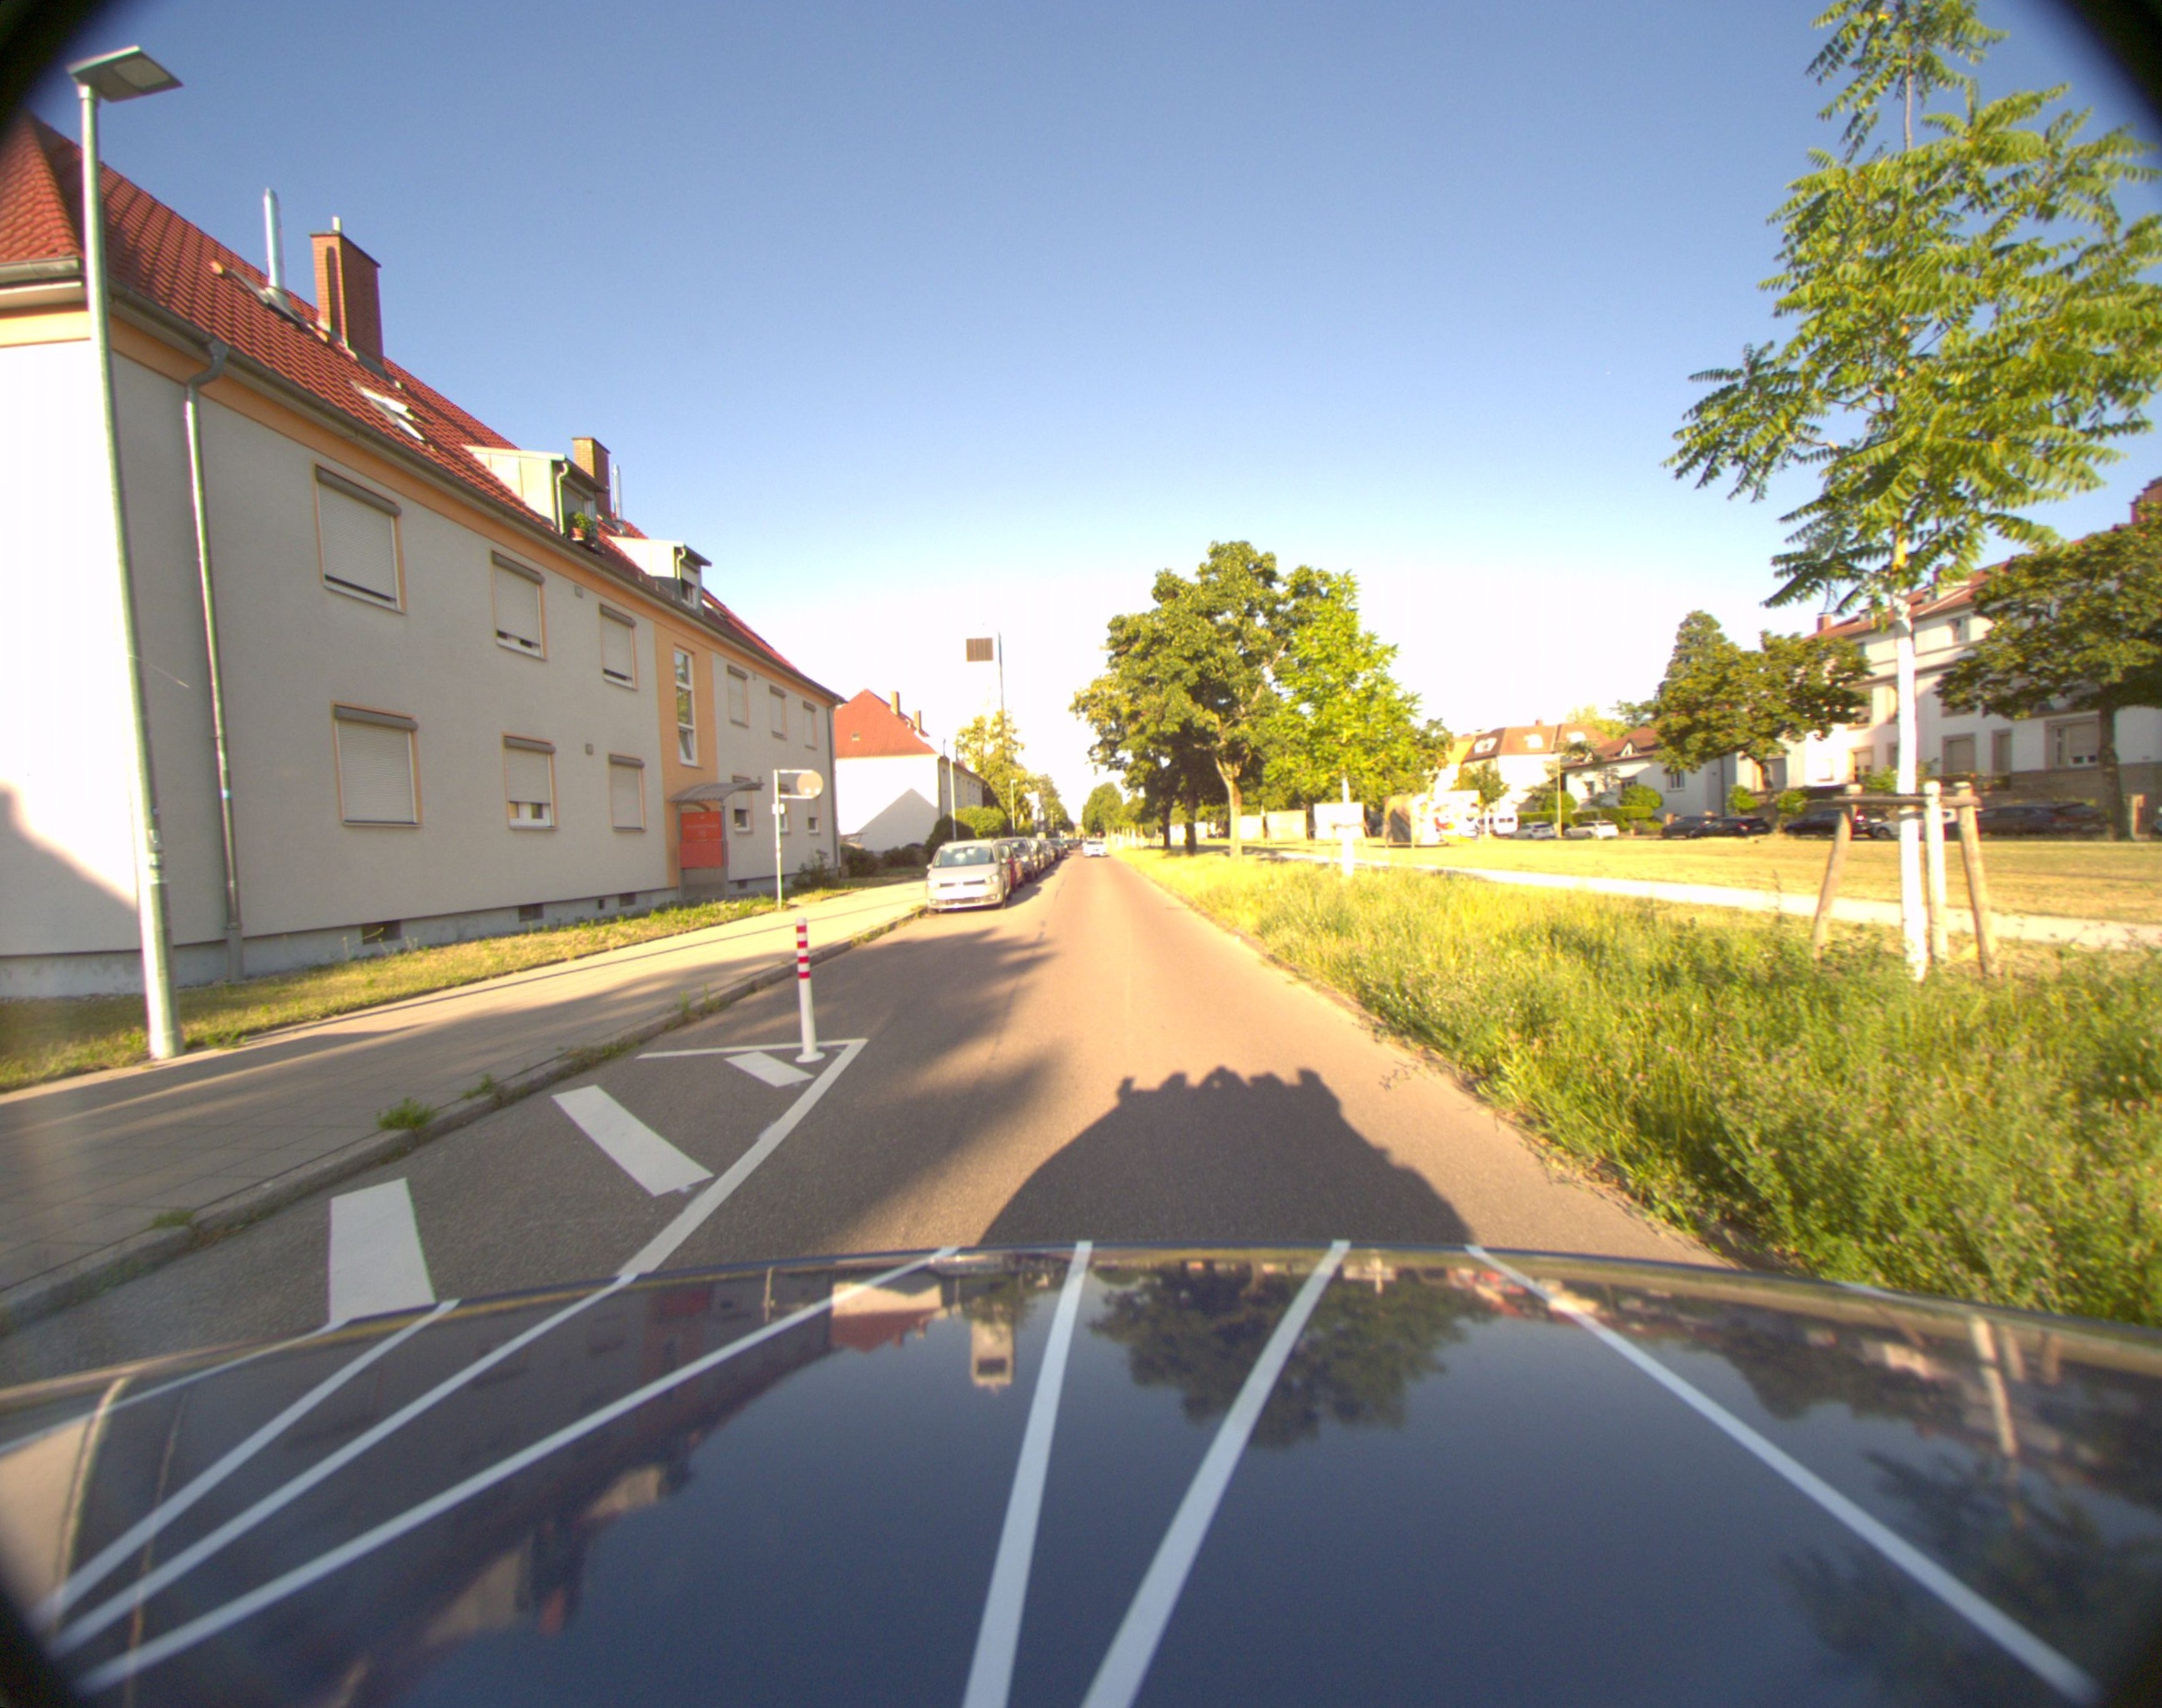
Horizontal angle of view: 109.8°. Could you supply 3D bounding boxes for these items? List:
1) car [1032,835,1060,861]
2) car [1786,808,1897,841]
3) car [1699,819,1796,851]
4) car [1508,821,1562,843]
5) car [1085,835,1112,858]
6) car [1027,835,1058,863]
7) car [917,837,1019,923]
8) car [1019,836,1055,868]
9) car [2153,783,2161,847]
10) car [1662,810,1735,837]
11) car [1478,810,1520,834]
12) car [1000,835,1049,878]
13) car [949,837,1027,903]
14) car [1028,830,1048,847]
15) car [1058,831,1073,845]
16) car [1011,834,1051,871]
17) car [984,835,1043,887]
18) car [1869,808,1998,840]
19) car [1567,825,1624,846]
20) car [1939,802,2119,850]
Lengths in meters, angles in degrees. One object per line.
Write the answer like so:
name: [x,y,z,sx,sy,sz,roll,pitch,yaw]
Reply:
car: [-2.518,-0.474,55.474,1.850,1.686,3.998,-4,2,-1]
car: [40.706,-1.565,40.833,1.825,1.571,4.161,-2,2,1]
car: [35.430,-1.032,40.538,1.825,1.571,3.835,-2,2,1]
car: [35.008,-1.692,58.694,1.825,1.571,3.835,-2,2,1]
car: [1.371,-0.638,61.269,1.870,1.686,4.298,-4,2,-1]
car: [-2.518,-0.358,50.508,1.850,1.686,3.998,-4,2,-1]
car: [-2.578,0.510,18.270,1.850,1.686,3.998,-4,2,-1]
car: [-2.573,-0.172,45.290,1.850,1.686,3.998,-4,2,-1]
car: [34.688,-1.188,21.551,2.078,2.002,4.574,-2,2,0]
car: [40.285,-1.992,49.690,1.642,1.653,3.999,-2,2,2]
car: [40.802,-3.084,74.251,1.998,2.201,4.131,-2,2,3]
car: [-2.449,0.056,33.898,1.850,1.686,3.998,-4,2,-1]
car: [-2.731,0.396,23.187,1.850,1.686,3.998,-4,2,-1]
car: [-4.554,-1.655,81.276,1.850,1.686,3.998,-4,2,-1]
car: [-2.082,-2.103,101.123,1.850,1.686,3.998,-4,2,-1]
car: [-2.586,-0.125,40.099,1.850,1.686,3.998,-4,2,-1]
car: [-2.457,0.188,28.559,1.850,1.686,3.998,-4,2,-1]
car: [40.557,-1.409,36.293,1.641,1.438,4.007,-1,2,0]
car: [40.836,-1.463,60.429,1.825,1.571,3.966,-2,2,1]
car: [34.384,-1.009,27.746,1.825,1.571,3.835,-2,2,1]
